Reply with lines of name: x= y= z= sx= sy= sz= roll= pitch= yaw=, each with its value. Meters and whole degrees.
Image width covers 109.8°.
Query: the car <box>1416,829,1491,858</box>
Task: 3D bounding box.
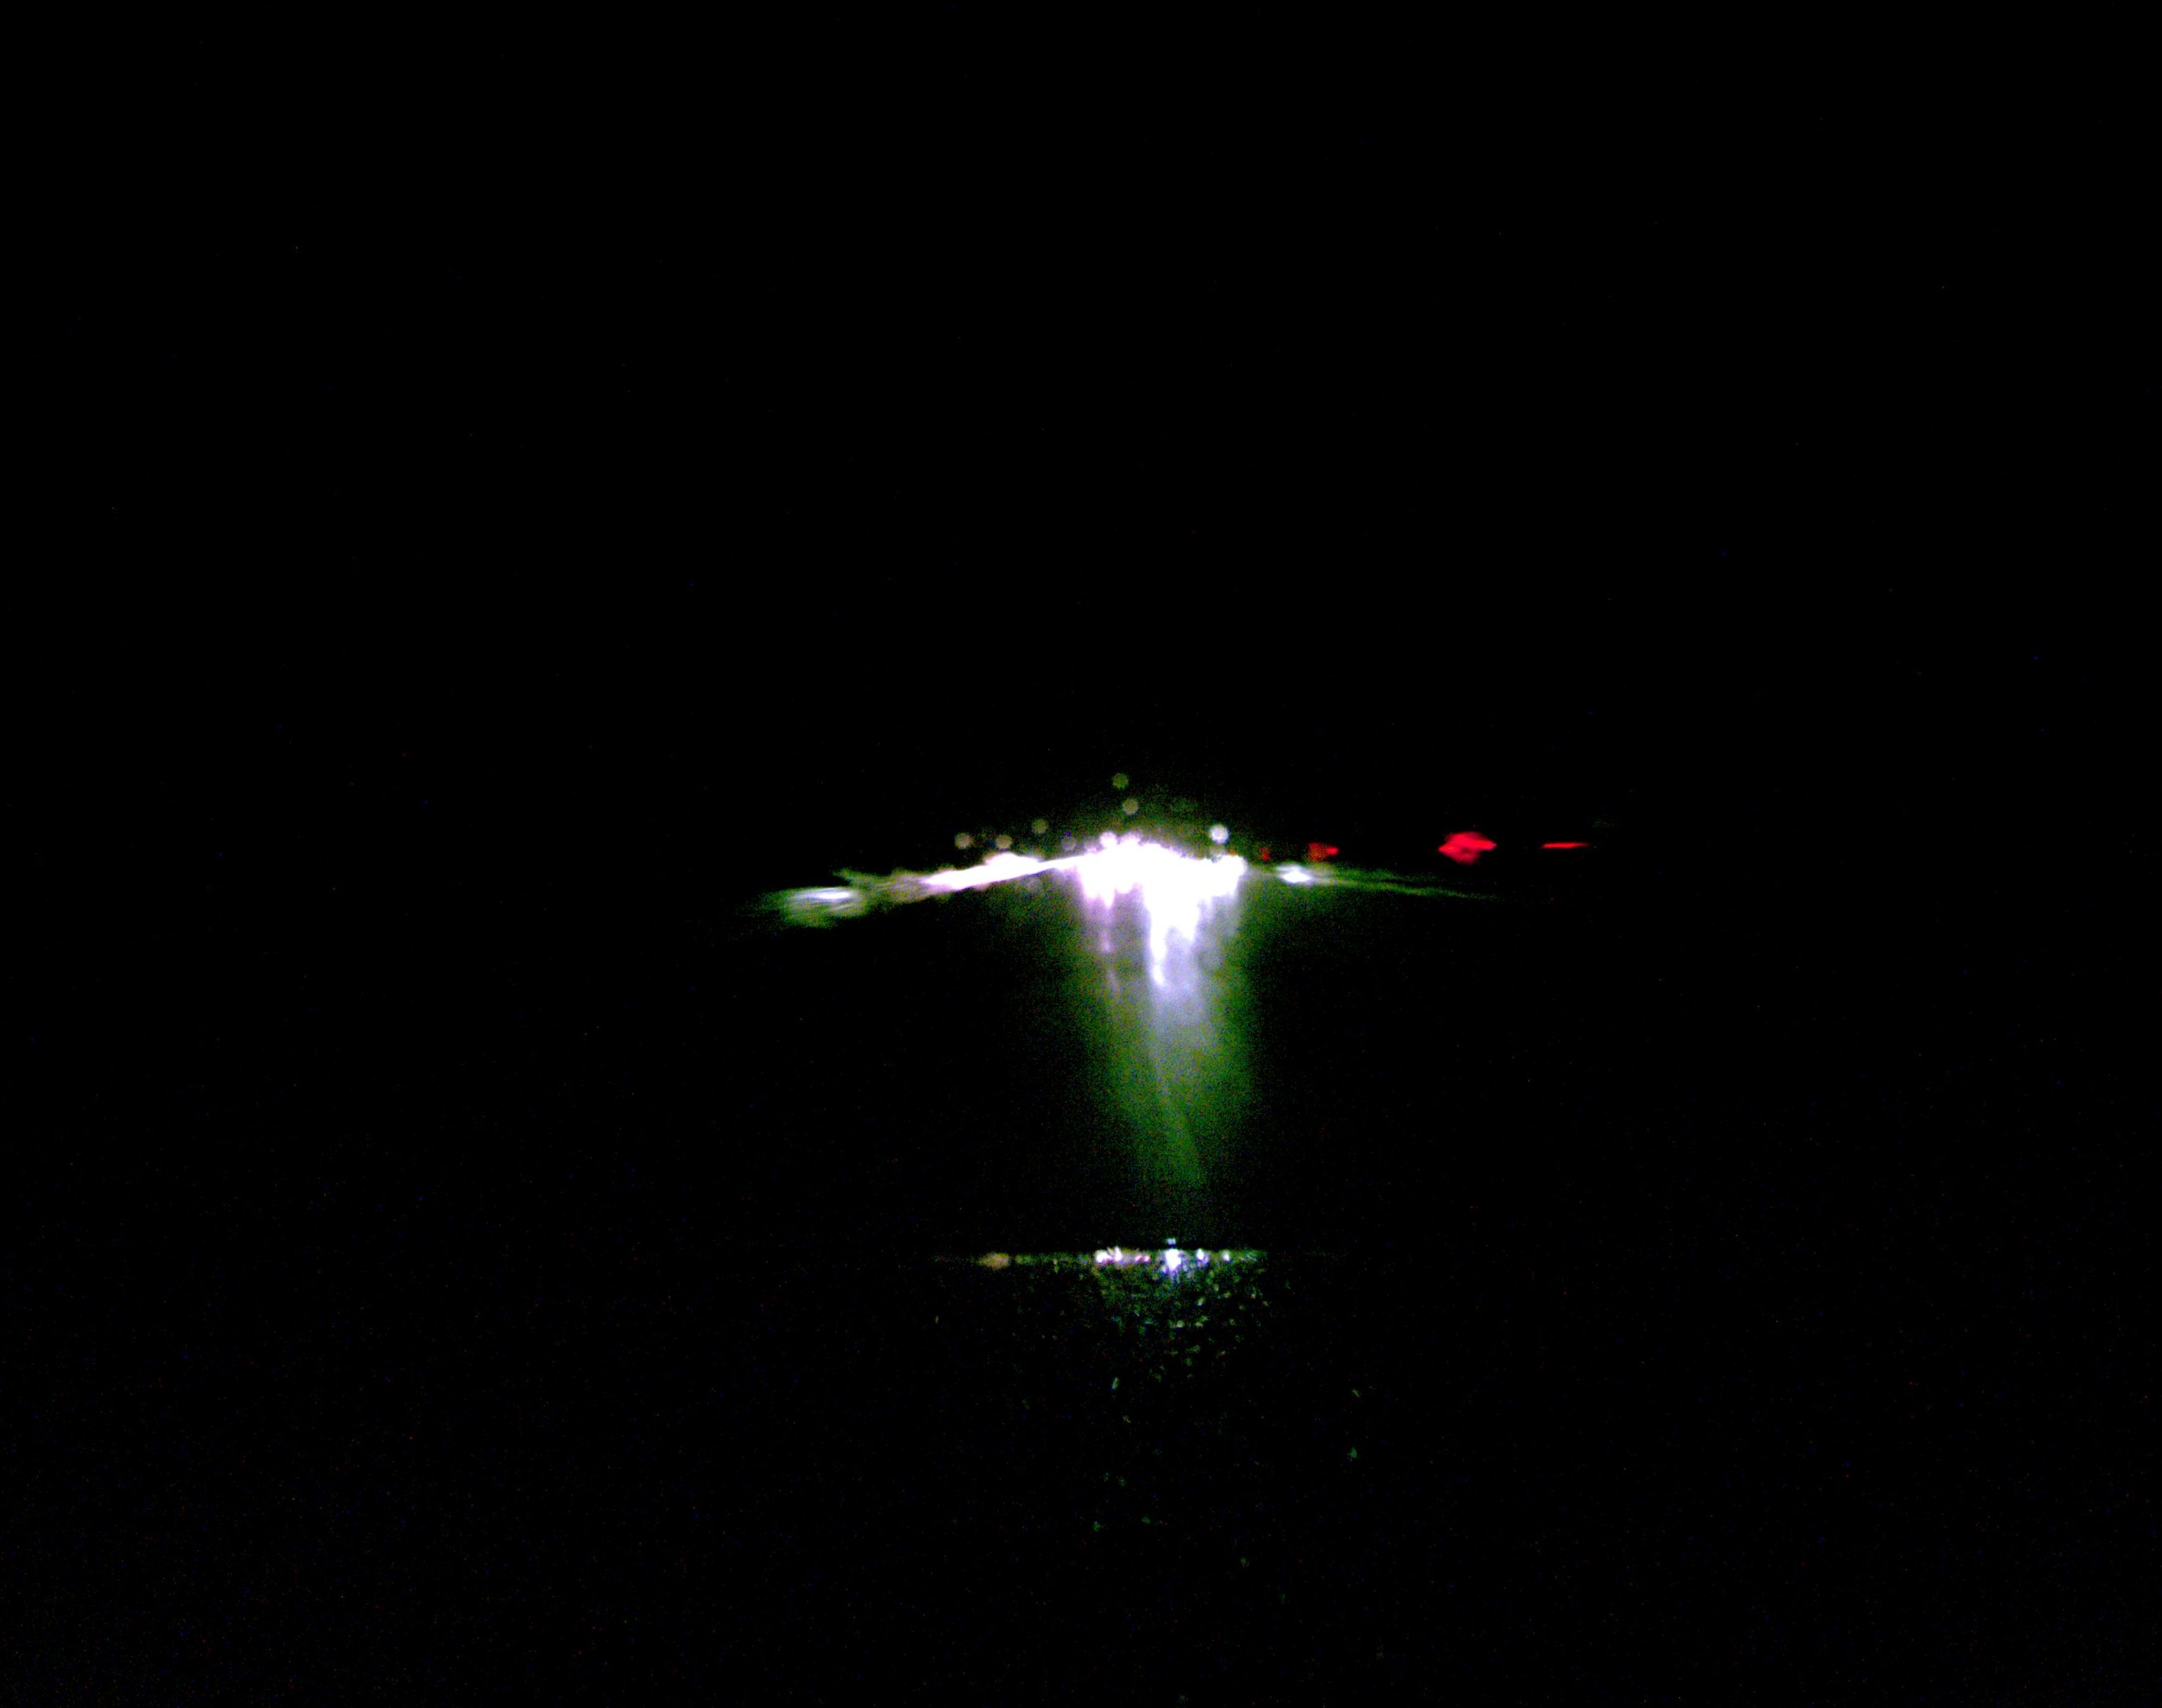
car: x=21.720 y=-0.590 z=44.526 sx=1.977 sy=1.456 sz=4.898 roll=-4 pitch=0 yaw=1

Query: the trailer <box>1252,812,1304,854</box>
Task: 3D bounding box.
trailer: x=26.970 y=-2.719 z=104.452 sx=4.350 sy=5.111 sz=8.996 roll=-6 pitch=0 yaw=0

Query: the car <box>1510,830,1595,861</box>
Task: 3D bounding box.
car: x=24.864 y=-0.438 z=40.263 sx=1.884 sy=1.456 sz=4.298 roll=-4 pitch=0 yaw=2

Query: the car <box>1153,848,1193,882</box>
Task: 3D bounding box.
car: x=4.968 y=0.569 z=41.447 sx=1.998 sy=1.667 sz=4.001 roll=-2 pitch=1 yaw=6

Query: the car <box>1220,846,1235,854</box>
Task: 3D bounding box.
car: x=24.749 y=-0.660 z=128.289 sx=1.711 sy=1.214 sz=4.272 roll=-4 pitch=0 yaw=1

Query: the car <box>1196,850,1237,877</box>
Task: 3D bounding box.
car: x=9.125 y=0.622 z=51.345 sx=2.309 sy=1.600 sz=3.872 roll=-2 pitch=1 yaw=5

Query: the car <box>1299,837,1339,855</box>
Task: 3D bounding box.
car: x=21.660 y=-0.715 z=69.416 sx=1.977 sy=1.456 sz=5.369 roll=-4 pitch=0 yaw=1

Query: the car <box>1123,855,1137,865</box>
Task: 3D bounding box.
car: x=6.402 y=0.827 z=99.292 sx=1.692 sy=1.149 sz=3.421 roll=-3 pitch=1 yaw=4

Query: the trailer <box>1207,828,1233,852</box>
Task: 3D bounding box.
trailer: x=33.519 y=-3.237 z=183.701 sx=4.177 sy=5.413 sz=13.748 roll=-3 pitch=1 yaw=3

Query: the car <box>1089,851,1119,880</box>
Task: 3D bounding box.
car: x=1.773 y=0.816 z=57.324 sx=1.998 sy=2.002 sz=4.000 roll=-3 pitch=1 yaw=3

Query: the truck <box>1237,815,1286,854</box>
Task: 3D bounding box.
truck: x=26.974 y=-2.807 z=114.198 sx=4.350 sy=5.111 sz=10.471 roll=-6 pitch=0 yaw=0
